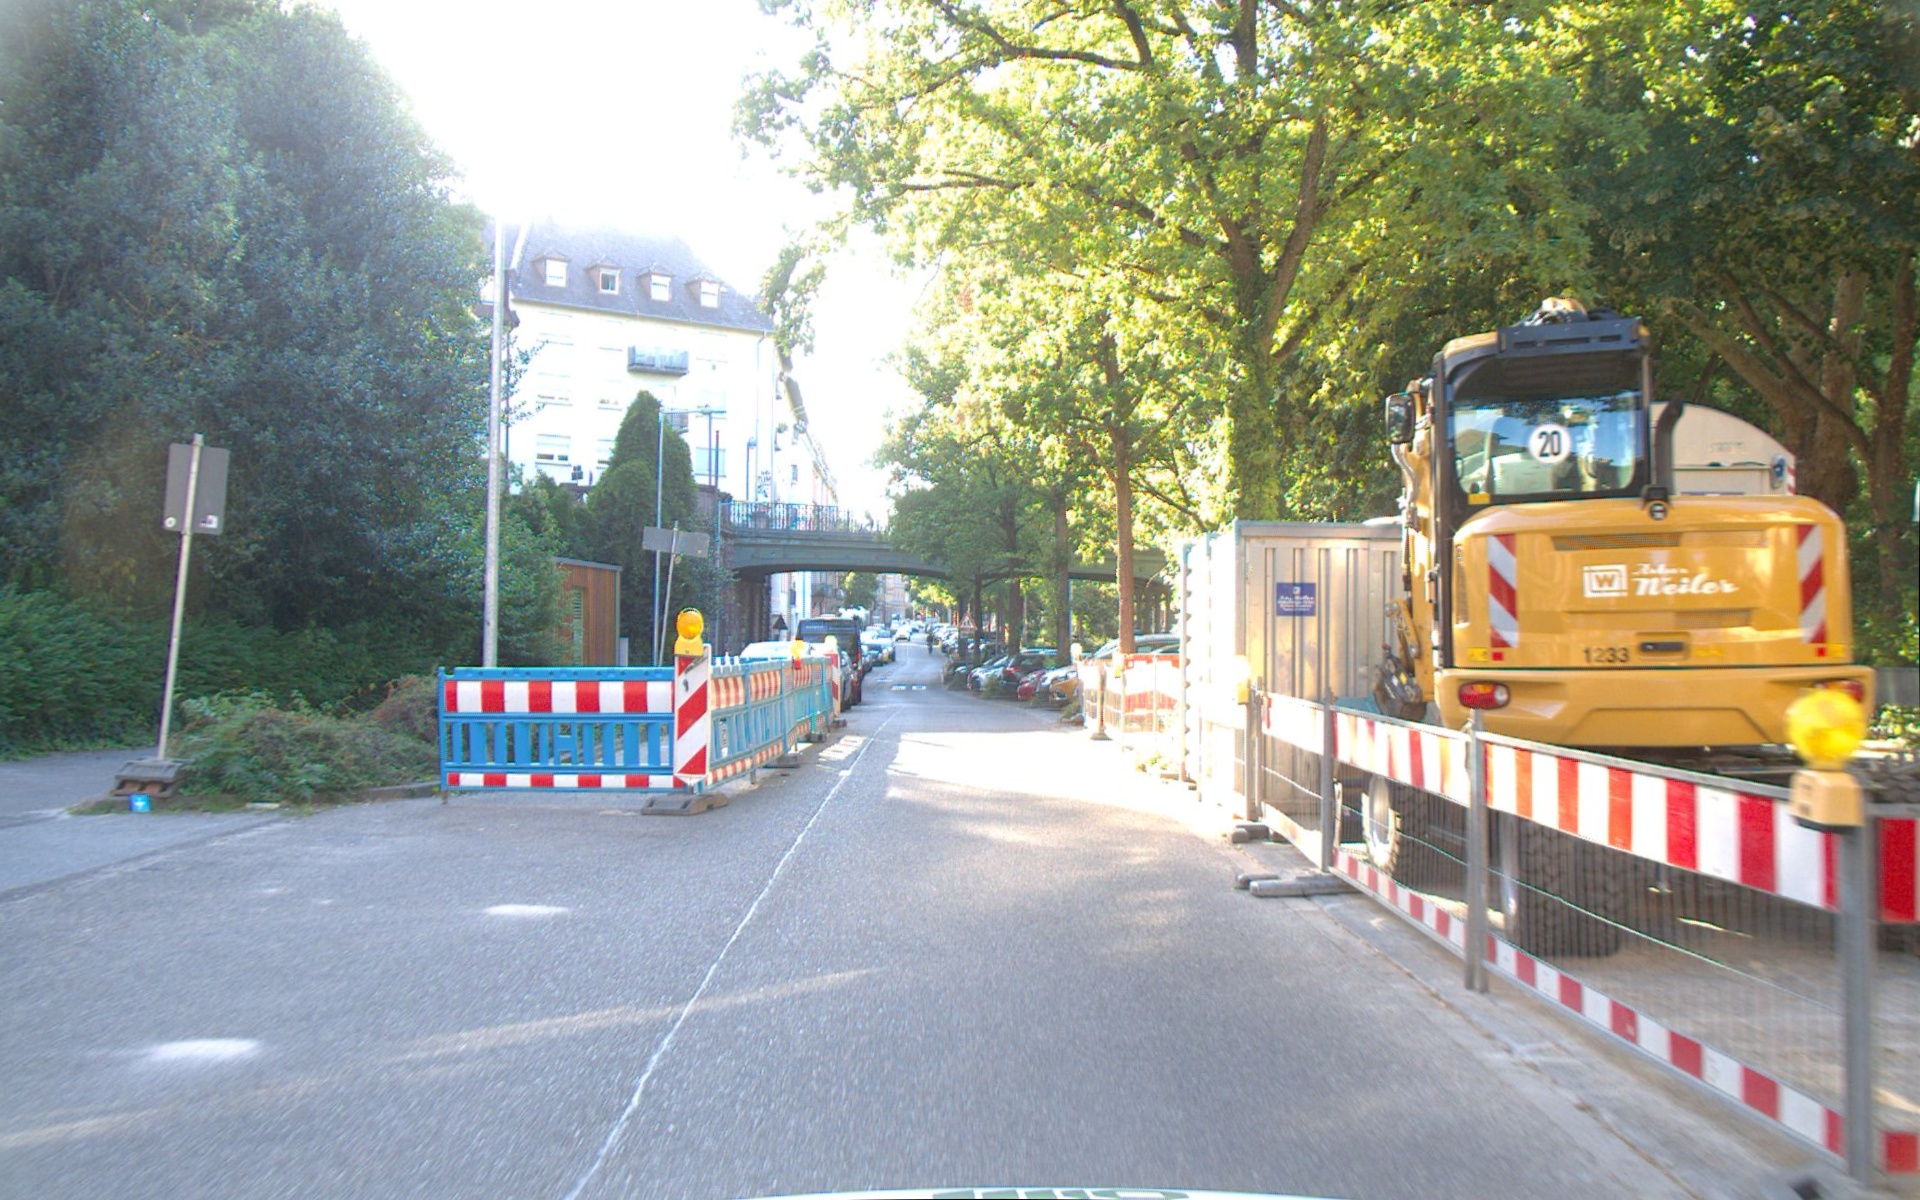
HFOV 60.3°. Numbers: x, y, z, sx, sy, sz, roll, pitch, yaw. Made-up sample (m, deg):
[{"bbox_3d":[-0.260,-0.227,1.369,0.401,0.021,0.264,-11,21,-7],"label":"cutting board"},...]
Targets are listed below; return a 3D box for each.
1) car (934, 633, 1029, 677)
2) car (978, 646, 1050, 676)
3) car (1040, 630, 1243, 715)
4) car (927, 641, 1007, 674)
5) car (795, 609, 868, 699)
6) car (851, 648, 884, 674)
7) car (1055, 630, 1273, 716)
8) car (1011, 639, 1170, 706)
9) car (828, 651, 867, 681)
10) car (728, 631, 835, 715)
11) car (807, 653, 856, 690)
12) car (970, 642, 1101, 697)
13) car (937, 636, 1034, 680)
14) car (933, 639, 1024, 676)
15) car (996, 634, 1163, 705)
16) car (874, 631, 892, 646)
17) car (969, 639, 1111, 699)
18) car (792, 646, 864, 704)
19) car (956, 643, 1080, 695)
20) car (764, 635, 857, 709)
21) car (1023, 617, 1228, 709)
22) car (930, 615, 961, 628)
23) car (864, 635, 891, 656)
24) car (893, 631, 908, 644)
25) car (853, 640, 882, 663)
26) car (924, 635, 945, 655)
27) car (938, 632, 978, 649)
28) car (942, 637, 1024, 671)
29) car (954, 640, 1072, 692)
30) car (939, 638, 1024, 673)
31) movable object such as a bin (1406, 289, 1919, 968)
[{"bbox_3d":[1.002,2.618,78.153,4.300,1.894,1.915,2,-3,-4],"label":"car"},{"bbox_3d":[3.267,3.735,100.524,4.298,1.638,1.780,2,-3,-1],"label":"car"},{"bbox_3d":[4.066,1.649,37.567,4.300,1.732,1.915,2,-3,-4],"label":"car"},{"bbox_3d":[0.374,3.156,91.241,4.300,1.638,1.779,2,-3,-4],"label":"car"},{"bbox_3d":[-3.882,1.680,50.637,2.006,2.541,5.692,2,-3,-3],"label":"car"},{"bbox_3d":[-5.349,3.553,95.739,1.776,1.422,3.973,-1,-2,-2],"label":"car"},{"bbox_3d":[4.321,1.569,35.393,4.302,1.634,1.914,2,-3,-5],"label":"car"},{"bbox_3d":[3.707,2.100,47.518,4.300,1.732,1.915,2,-3,-4],"label":"car"},{"bbox_3d":[-5.631,3.310,82.940,1.776,1.422,3.973,-1,-2,-2],"label":"car"},{"bbox_3d":[-3.274,1.369,31.019,1.680,1.443,4.104,-1,-2,-2],"label":"car"},{"bbox_3d":[-5.164,2.882,66.882,1.776,1.422,3.973,-1,-2,-2],"label":"car"},{"bbox_3d":[2.590,2.406,57.252,4.300,1.732,1.915,2,-3,-4],"label":"car"},{"bbox_3d":[1.150,2.676,76.111,4.300,1.816,1.915,2,-3,-4],"label":"car"},{"bbox_3d":[0.881,2.807,80.655,4.300,1.638,1.779,2,-3,-4],"label":"car"},{"bbox_3d":[3.231,1.905,45.097,4.300,1.732,1.915,2,-3,-4],"label":"car"},{"bbox_3d":[-7.770,3.922,167.391,1.776,1.422,3.973,-1,-2,-2],"label":"car"},{"bbox_3d":[2.521,2.201,52.653,4.300,1.732,1.915,2,-3,-4],"label":"car"},{"bbox_3d":[-3.576,2.048,45.412,1.776,1.479,4.348,-1,-2,-2],"label":"car"},{"bbox_3d":[2.067,2.514,60.077,4.300,1.732,1.915,2,-3,-4],"label":"car"},{"bbox_3d":[-3.266,1.556,36.845,1.776,1.465,4.348,2,-1,-2],"label":"car"},{"bbox_3d":[3.983,1.544,40.245,4.649,2.032,1.914,2,-3,-5],"label":"car"},{"bbox_3d":[-2.026,3.038,231.175,4.298,1.638,1.780,2,-3,-1],"label":"car"},{"bbox_3d":[-5.854,3.262,117.760,1.776,1.422,3.973,-1,-2,-2],"label":"car"},{"bbox_3d":[-7.115,4.548,199.488,1.776,1.422,3.973,-1,-2,-2],"label":"car"},{"bbox_3d":[-5.981,3.382,107.715,1.776,1.422,3.973,-1,-2,-2],"label":"car"},{"bbox_3d":[-2.163,3.881,142.629,1.739,1.638,4.400,2,-2,-1],"label":"car"},{"bbox_3d":[-0.244,4.403,179.226,4.298,1.638,1.780,2,-3,-1],"label":"car"},{"bbox_3d":[1.215,2.921,89.349,4.300,1.638,1.779,2,-3,-4],"label":"car"},{"bbox_3d":[1.981,2.513,62.702,4.300,1.816,1.915,2,-3,-4],"label":"car"},{"bbox_3d":[1.102,2.915,86.815,4.300,1.638,1.779,2,-3,-4],"label":"car"},{"bbox_3d":[3.372,0.113,8.395,1.951,2.747,3.113,1,0,12],"label":"movable object such as a bin"}]
